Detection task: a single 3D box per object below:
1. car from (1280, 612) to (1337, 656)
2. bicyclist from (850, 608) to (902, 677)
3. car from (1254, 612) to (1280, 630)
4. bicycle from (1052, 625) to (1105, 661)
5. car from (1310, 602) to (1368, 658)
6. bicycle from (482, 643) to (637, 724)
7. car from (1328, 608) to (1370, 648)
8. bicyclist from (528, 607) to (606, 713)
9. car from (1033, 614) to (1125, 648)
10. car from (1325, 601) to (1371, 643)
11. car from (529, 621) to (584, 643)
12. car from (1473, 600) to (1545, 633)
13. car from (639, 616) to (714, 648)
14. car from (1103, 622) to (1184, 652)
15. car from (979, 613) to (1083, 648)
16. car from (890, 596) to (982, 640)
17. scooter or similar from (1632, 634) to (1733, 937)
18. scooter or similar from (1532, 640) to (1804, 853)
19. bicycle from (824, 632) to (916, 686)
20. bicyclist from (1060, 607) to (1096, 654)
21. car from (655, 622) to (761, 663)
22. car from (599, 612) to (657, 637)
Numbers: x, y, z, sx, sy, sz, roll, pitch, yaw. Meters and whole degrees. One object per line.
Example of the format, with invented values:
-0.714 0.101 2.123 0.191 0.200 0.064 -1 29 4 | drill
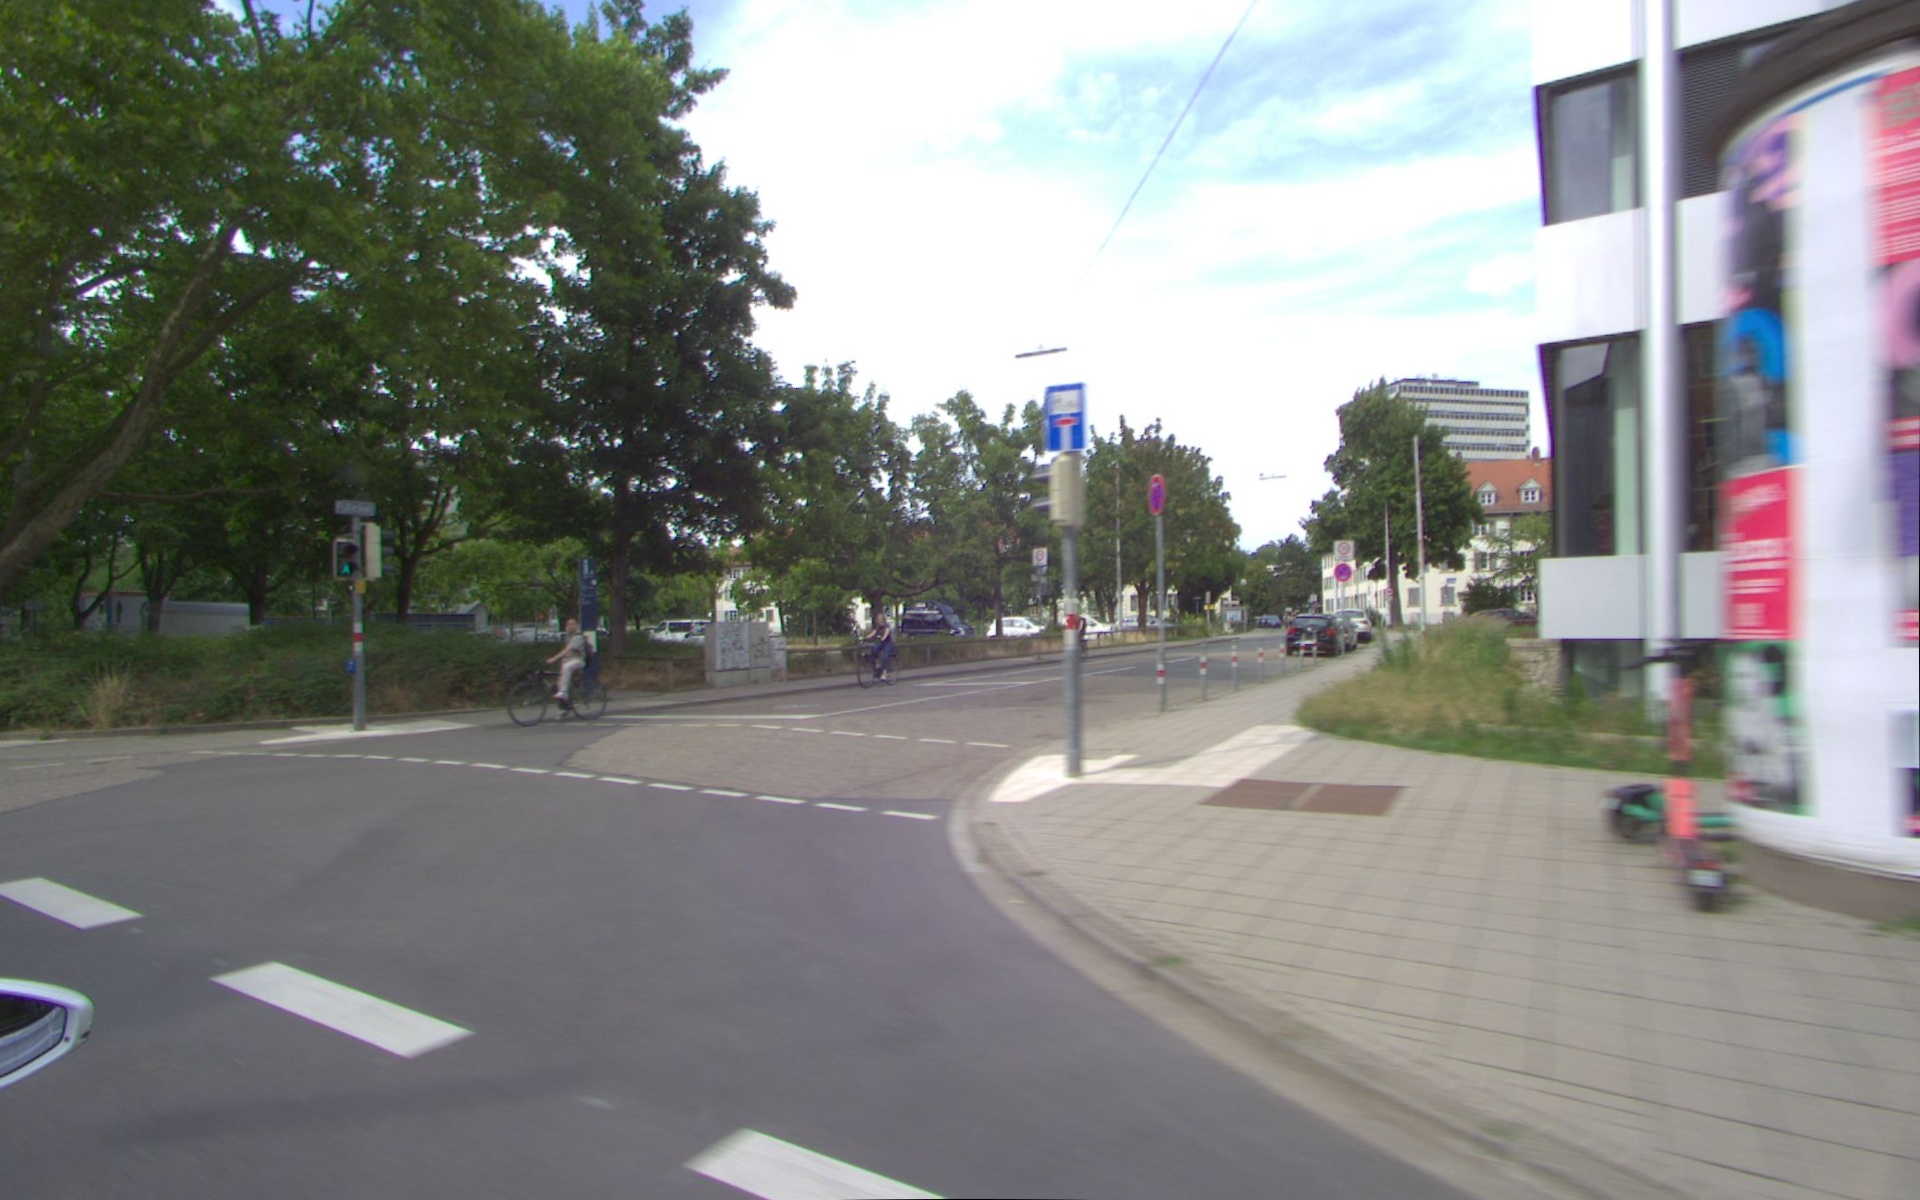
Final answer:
12.249 1.226 35.119 1.648 1.462 3.644 -1 -3 23 | car
-2.022 1.020 24.036 0.904 1.596 0.826 -3 -2 37 | bicyclist
27.094 1.876 88.464 1.687 1.471 4.001 0 -3 11 | car
4.127 1.480 34.619 0.903 1.187 2.240 -3 -2 33 | bicycle
14.673 1.203 38.649 1.966 2.039 3.992 -1 -3 23 | car
-6.564 1.339 16.530 0.904 1.187 2.237 -3 -2 37 | bicycle
20.878 1.552 53.665 1.966 2.039 3.992 -1 -3 23 | car
-6.520 0.980 16.610 0.904 1.699 0.826 -3 -2 37 | bicyclist
6.633 1.756 55.709 4.702 1.816 1.992 -1 -3 30 | car
18.840 1.107 48.541 1.921 1.884 3.871 -1 -3 23 | car
-30.970 2.462 76.800 3.732 1.600 1.992 -1 -3 29 | car
35.235 1.087 64.268 3.944 2.039 1.990 -1 -3 33 | car
-18.771 2.154 66.309 4.699 2.039 1.993 -1 -3 28 | car
11.680 2.369 63.848 4.701 1.816 1.992 -1 -3 29 | car
3.442 1.508 48.737 4.707 1.650 1.990 -1 -3 34 | car
-1.538 1.197 63.397 5.414 2.646 2.433 -1 -3 30 | car
3.523 0.810 4.880 0.340 1.225 1.301 -1 1 36 | scooter or similar
4.201 0.848 5.979 1.285 1.152 0.472 -2 1 -2 | scooter or similar
-2.125 1.388 23.898 0.904 1.187 2.237 -3 -2 37 | bicycle
4.065 1.051 34.473 0.903 1.596 0.827 -2 -2 33 | bicyclist
-11.674 1.975 46.389 4.701 1.816 1.992 -1 -3 29 | car
-27.620 2.083 83.246 4.701 2.039 1.992 -1 -3 29 | car
